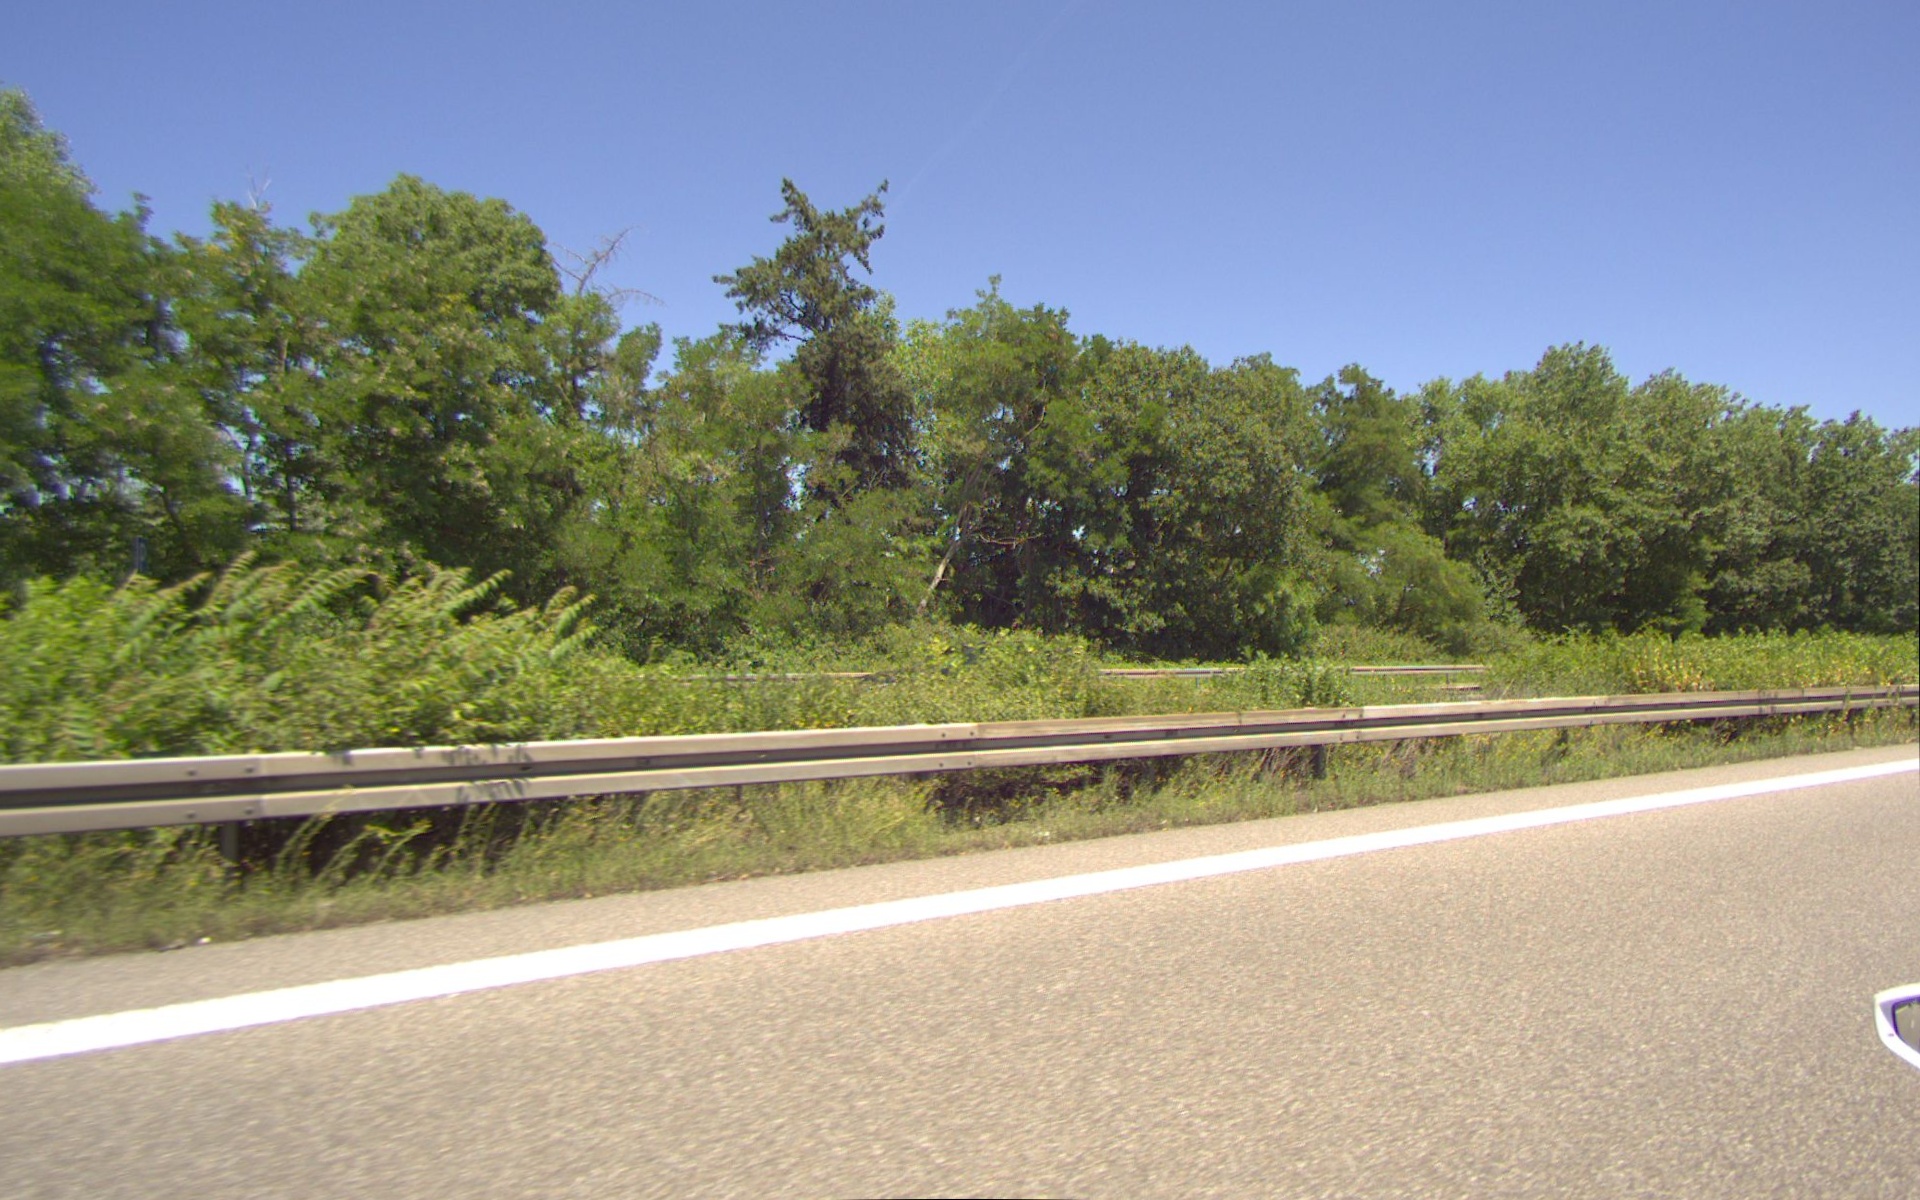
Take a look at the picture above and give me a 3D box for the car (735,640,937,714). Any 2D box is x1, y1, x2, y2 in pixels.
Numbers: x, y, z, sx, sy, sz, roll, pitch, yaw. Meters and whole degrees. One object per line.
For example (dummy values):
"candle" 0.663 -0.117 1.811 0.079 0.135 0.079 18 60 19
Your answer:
"car" -2.109 1.264 17.251 3.117 1.087 1.480 1 0 -30
